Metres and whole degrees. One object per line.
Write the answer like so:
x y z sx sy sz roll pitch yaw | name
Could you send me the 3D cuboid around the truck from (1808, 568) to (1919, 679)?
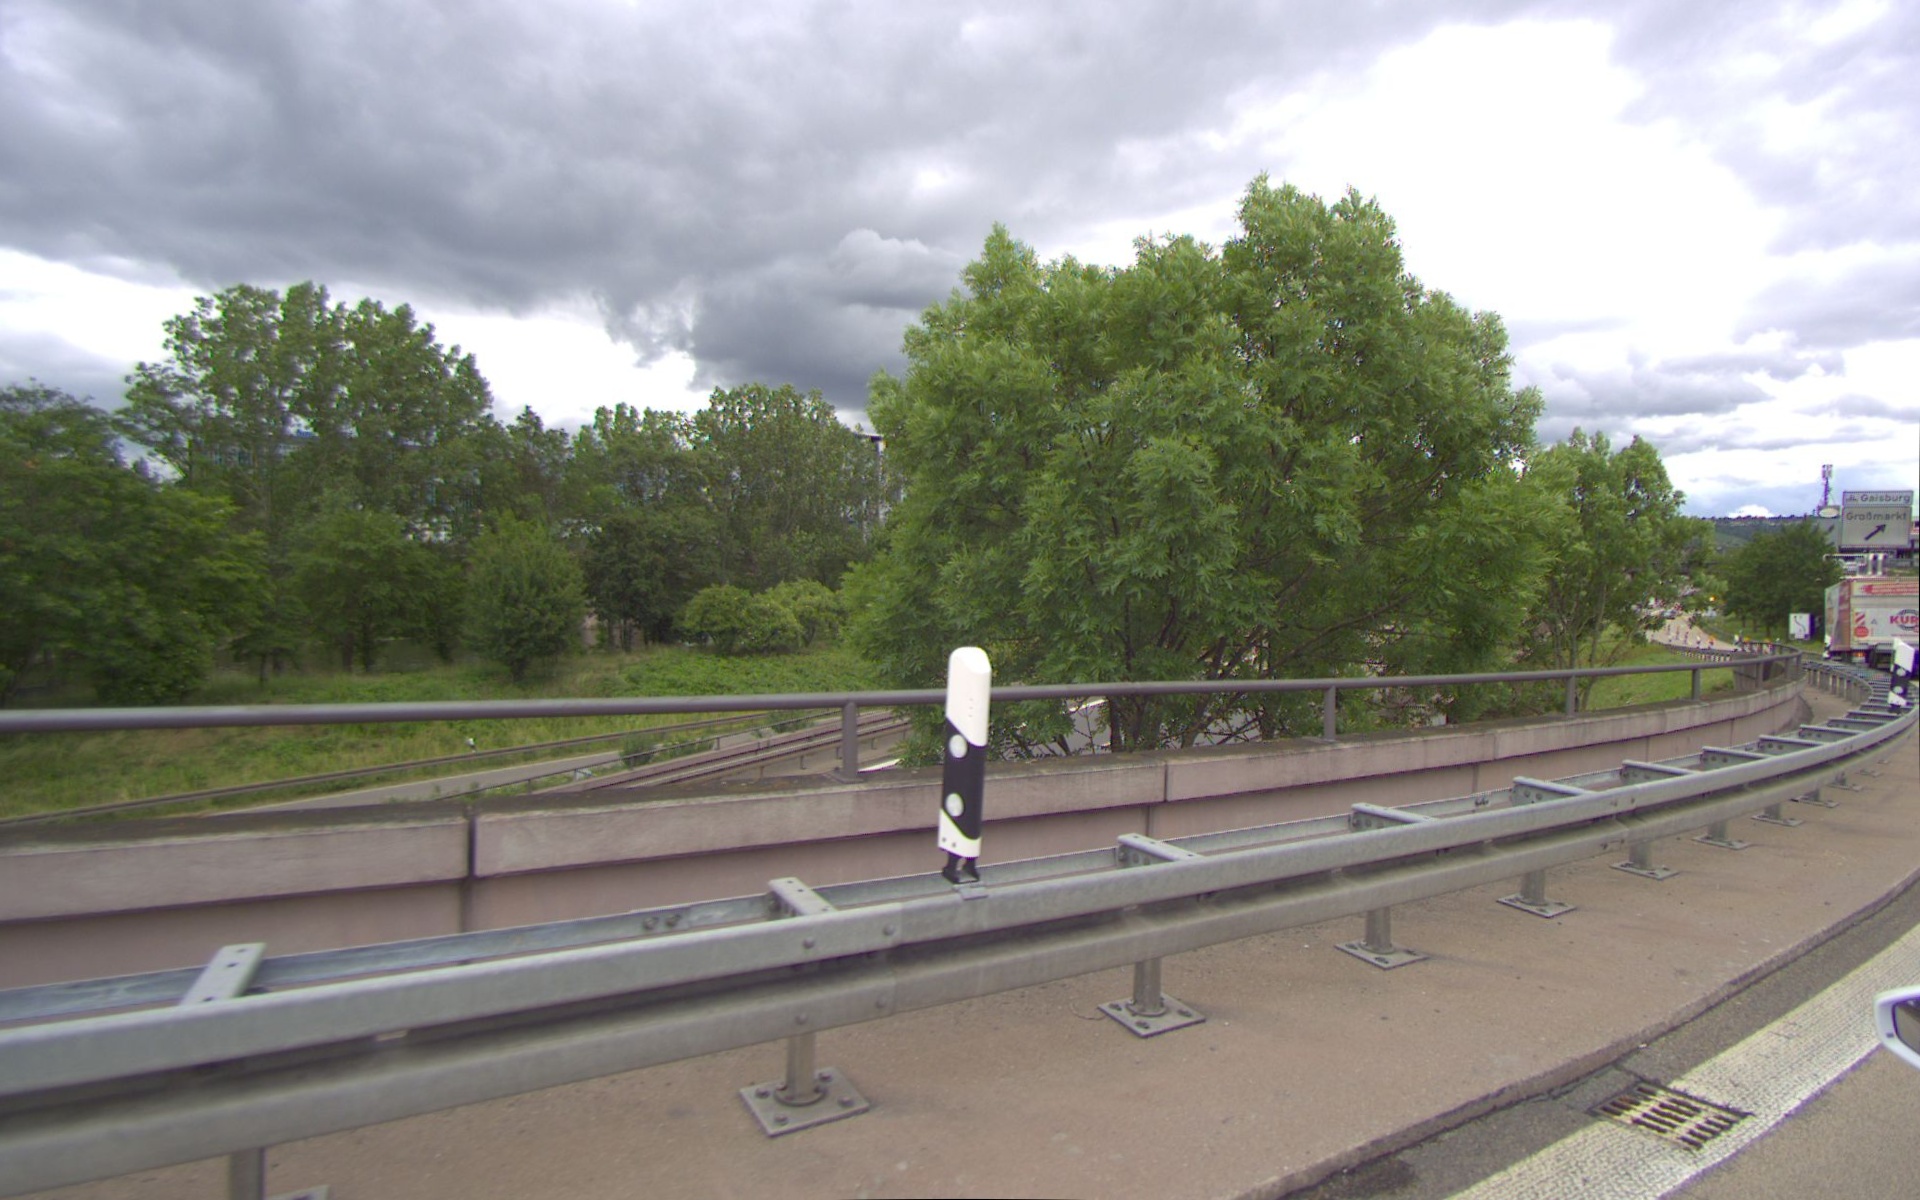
34.293 0.821 37.550 3.010 3.722 7.902 3 1 34 | truck
